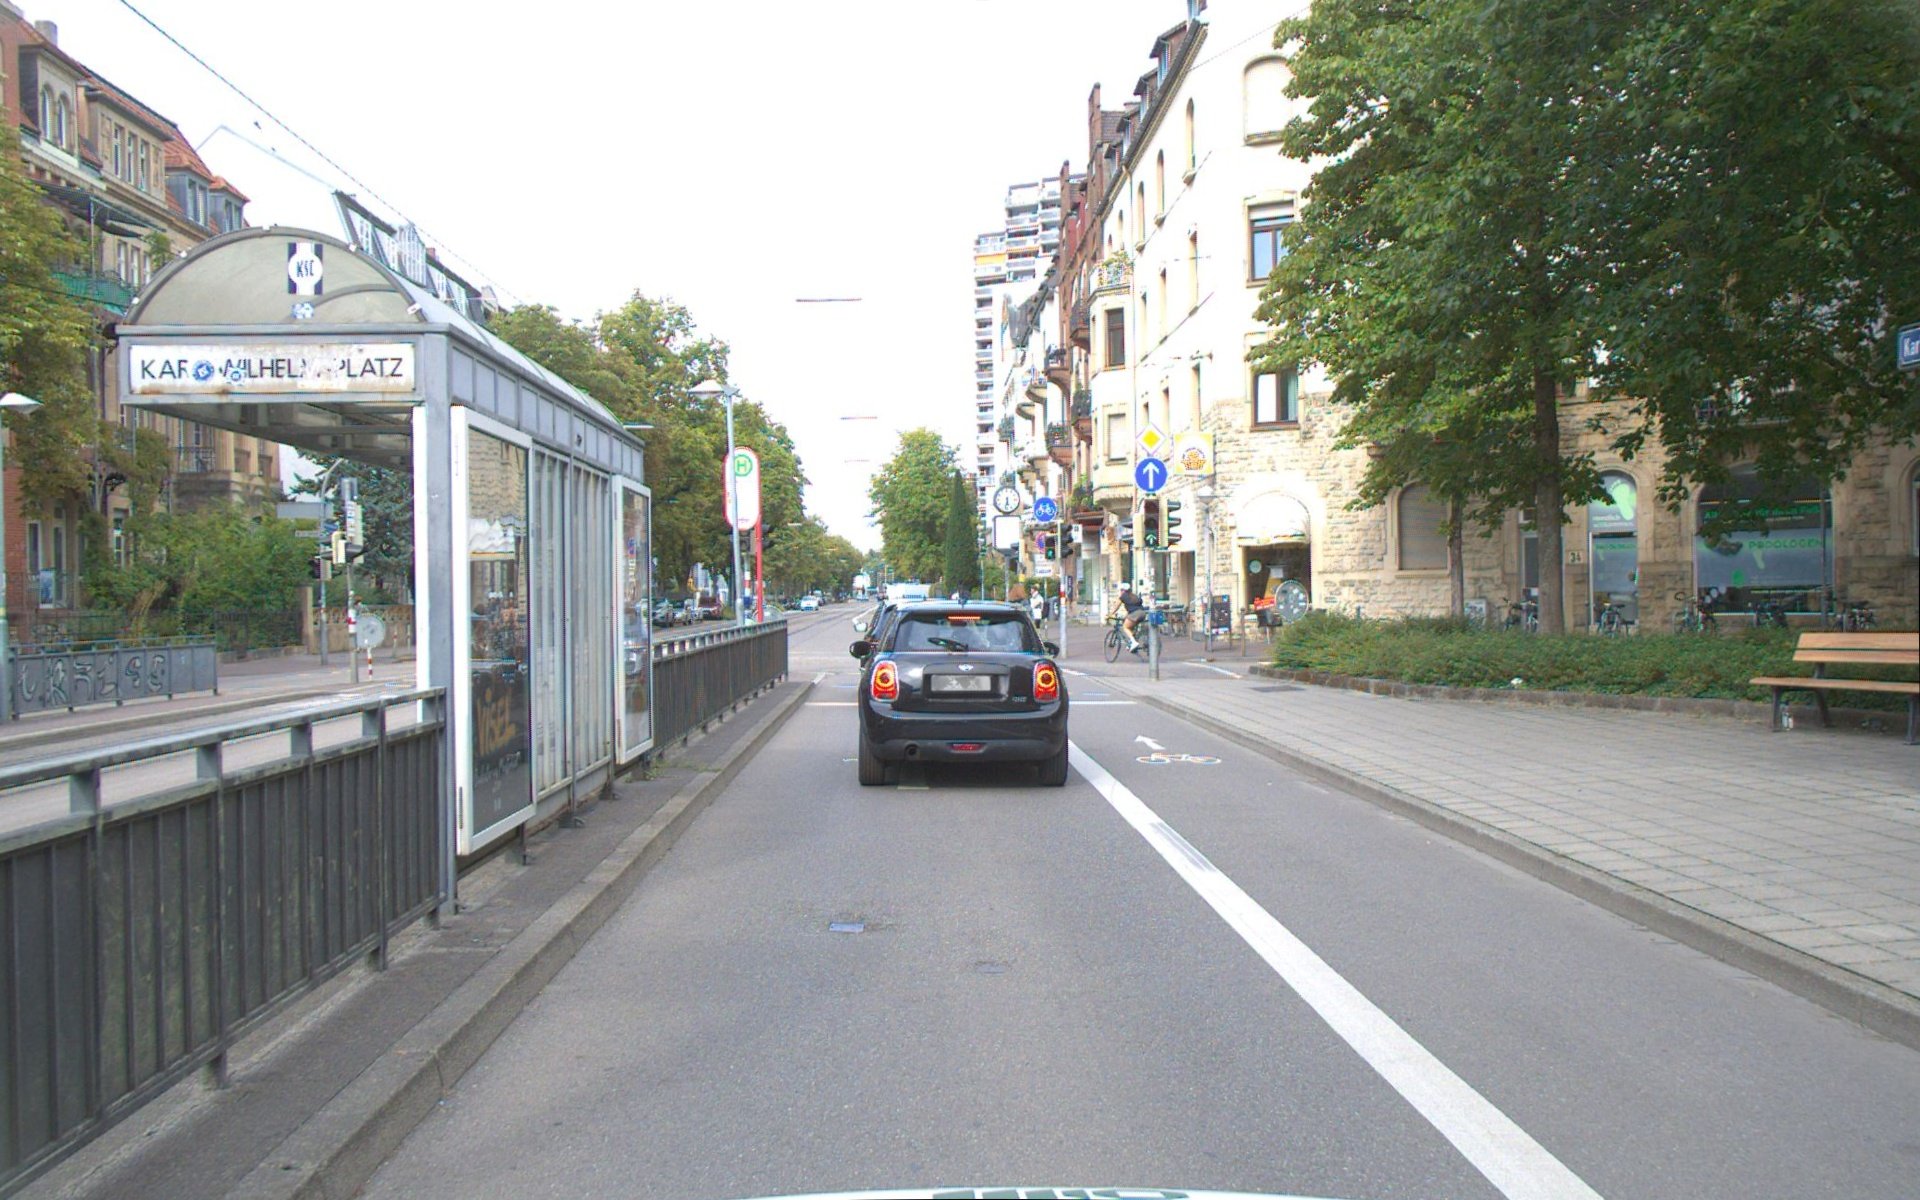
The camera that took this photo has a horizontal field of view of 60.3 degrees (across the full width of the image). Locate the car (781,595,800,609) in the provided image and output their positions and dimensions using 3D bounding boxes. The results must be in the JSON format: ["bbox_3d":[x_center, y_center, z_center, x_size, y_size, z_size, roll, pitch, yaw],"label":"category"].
[{"bbox_3d":[-20.814,0.248,203.293,1.953,1.579,3.999,-1,0,-2],"label":"car"}]

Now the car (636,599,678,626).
[{"bbox_3d":[-16.603,0.665,90.791,1.731,1.419,3.998,-1,0,-3],"label":"car"}]

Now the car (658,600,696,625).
[{"bbox_3d":[-16.833,0.731,98.459,1.731,1.419,3.998,-1,0,-3],"label":"car"}]

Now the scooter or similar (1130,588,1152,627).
[{"bbox_3d":[5.747,0.230,52.459,0.498,1.209,1.261,-2,0,-2],"label":"scooter or similar"}]

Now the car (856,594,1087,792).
[{"bbox_3d":[0.043,0.690,14.359,1.716,1.466,3.999,0,0,-1],"label":"car"}]

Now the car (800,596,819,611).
[{"bbox_3d":[-15.033,0.320,165.198,1.731,1.419,3.998,-1,0,-3],"label":"car"}]

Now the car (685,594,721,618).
[{"bbox_3d":[-18.221,0.418,117.462,1.953,1.579,3.999,-1,0,-2],"label":"car"}]

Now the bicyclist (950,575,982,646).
[{"bbox_3d":[0.136,0.224,37.890,0.670,1.591,0.998,-2,0,0],"label":"bicyclist"}]

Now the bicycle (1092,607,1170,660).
[{"bbox_3d":[3.680,0.715,35.661,0.610,1.095,1.798,-2,0,-36],"label":"bicycle"}]

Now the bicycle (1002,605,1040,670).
[{"bbox_3d":[1.177,0.712,32.229,0.586,1.190,1.696,-2,0,-2],"label":"bicycle"}]

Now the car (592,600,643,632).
[{"bbox_3d":[-16.299,0.732,78.773,1.731,1.419,3.998,-1,0,-3],"label":"car"}]

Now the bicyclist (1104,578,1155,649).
[{"bbox_3d":[3.654,0.280,35.676,0.610,1.498,0.903,-2,0,-36],"label":"bicyclist"}]

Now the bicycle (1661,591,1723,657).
[{"bbox_3d":[13.502,0.430,30.484,0.523,1.147,1.884,-1,0,40],"label":"bicycle"}]

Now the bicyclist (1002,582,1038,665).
[{"bbox_3d":[1.163,0.438,32.225,0.582,1.577,1.013,-2,0,-2],"label":"bicyclist"}]

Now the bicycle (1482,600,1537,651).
[{"bbox_3d":[11.209,0.506,33.730,0.591,0.989,1.666,-1,0,35],"label":"bicycle"}]

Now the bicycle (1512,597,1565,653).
[{"bbox_3d":[11.550,0.488,32.976,0.441,1.073,1.641,-1,0,40],"label":"bicycle"}]

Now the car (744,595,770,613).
[{"bbox_3d":[-19.209,0.392,156.643,1.953,1.579,3.999,-1,0,-2],"label":"car"}]

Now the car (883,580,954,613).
[{"bbox_3d":[-3.109,-0.275,123.574,4.998,2.312,2.360,-2,0,-43],"label":"car"}]

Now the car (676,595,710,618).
[{"bbox_3d":[-17.596,0.419,109.082,1.731,1.419,3.998,-1,0,-3],"label":"car"}]

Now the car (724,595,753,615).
[{"bbox_3d":[-18.797,0.404,140.419,1.953,1.579,3.999,-1,0,-2],"label":"car"}]

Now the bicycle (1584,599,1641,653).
[{"bbox_3d":[12.541,0.492,31.787,0.523,0.989,1.641,-1,0,40],"label":"bicycle"}]

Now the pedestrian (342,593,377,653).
[{"bbox_3d":[-18.493,0.710,50.946,0.715,1.815,0.835,-1,0,-2],"label":"pedestrian"}]

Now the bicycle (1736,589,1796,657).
[{"bbox_3d":[14.450,0.397,29.617,0.523,1.147,1.884,-1,0,40],"label":"bicycle"}]

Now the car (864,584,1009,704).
[{"bbox_3d":[-0.414,0.571,23.851,1.888,1.536,3.998,-1,0,-3],"label":"car"}]

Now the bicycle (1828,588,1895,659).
[{"bbox_3d":[15.513,0.390,28.435,0.655,1.147,1.884,-1,0,40],"label":"bicycle"}]

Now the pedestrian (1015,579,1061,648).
[{"bbox_3d":[2.042,0.350,43.409,0.720,1.703,0.830,-4,1,44],"label":"pedestrian"}]

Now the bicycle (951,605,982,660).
[{"bbox_3d":[0.152,0.736,37.827,0.670,1.190,1.696,-2,0,0],"label":"bicycle"}]

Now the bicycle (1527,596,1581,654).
[{"bbox_3d":[11.714,0.485,32.599,0.441,1.073,1.641,-1,0,40],"label":"bicycle"}]
